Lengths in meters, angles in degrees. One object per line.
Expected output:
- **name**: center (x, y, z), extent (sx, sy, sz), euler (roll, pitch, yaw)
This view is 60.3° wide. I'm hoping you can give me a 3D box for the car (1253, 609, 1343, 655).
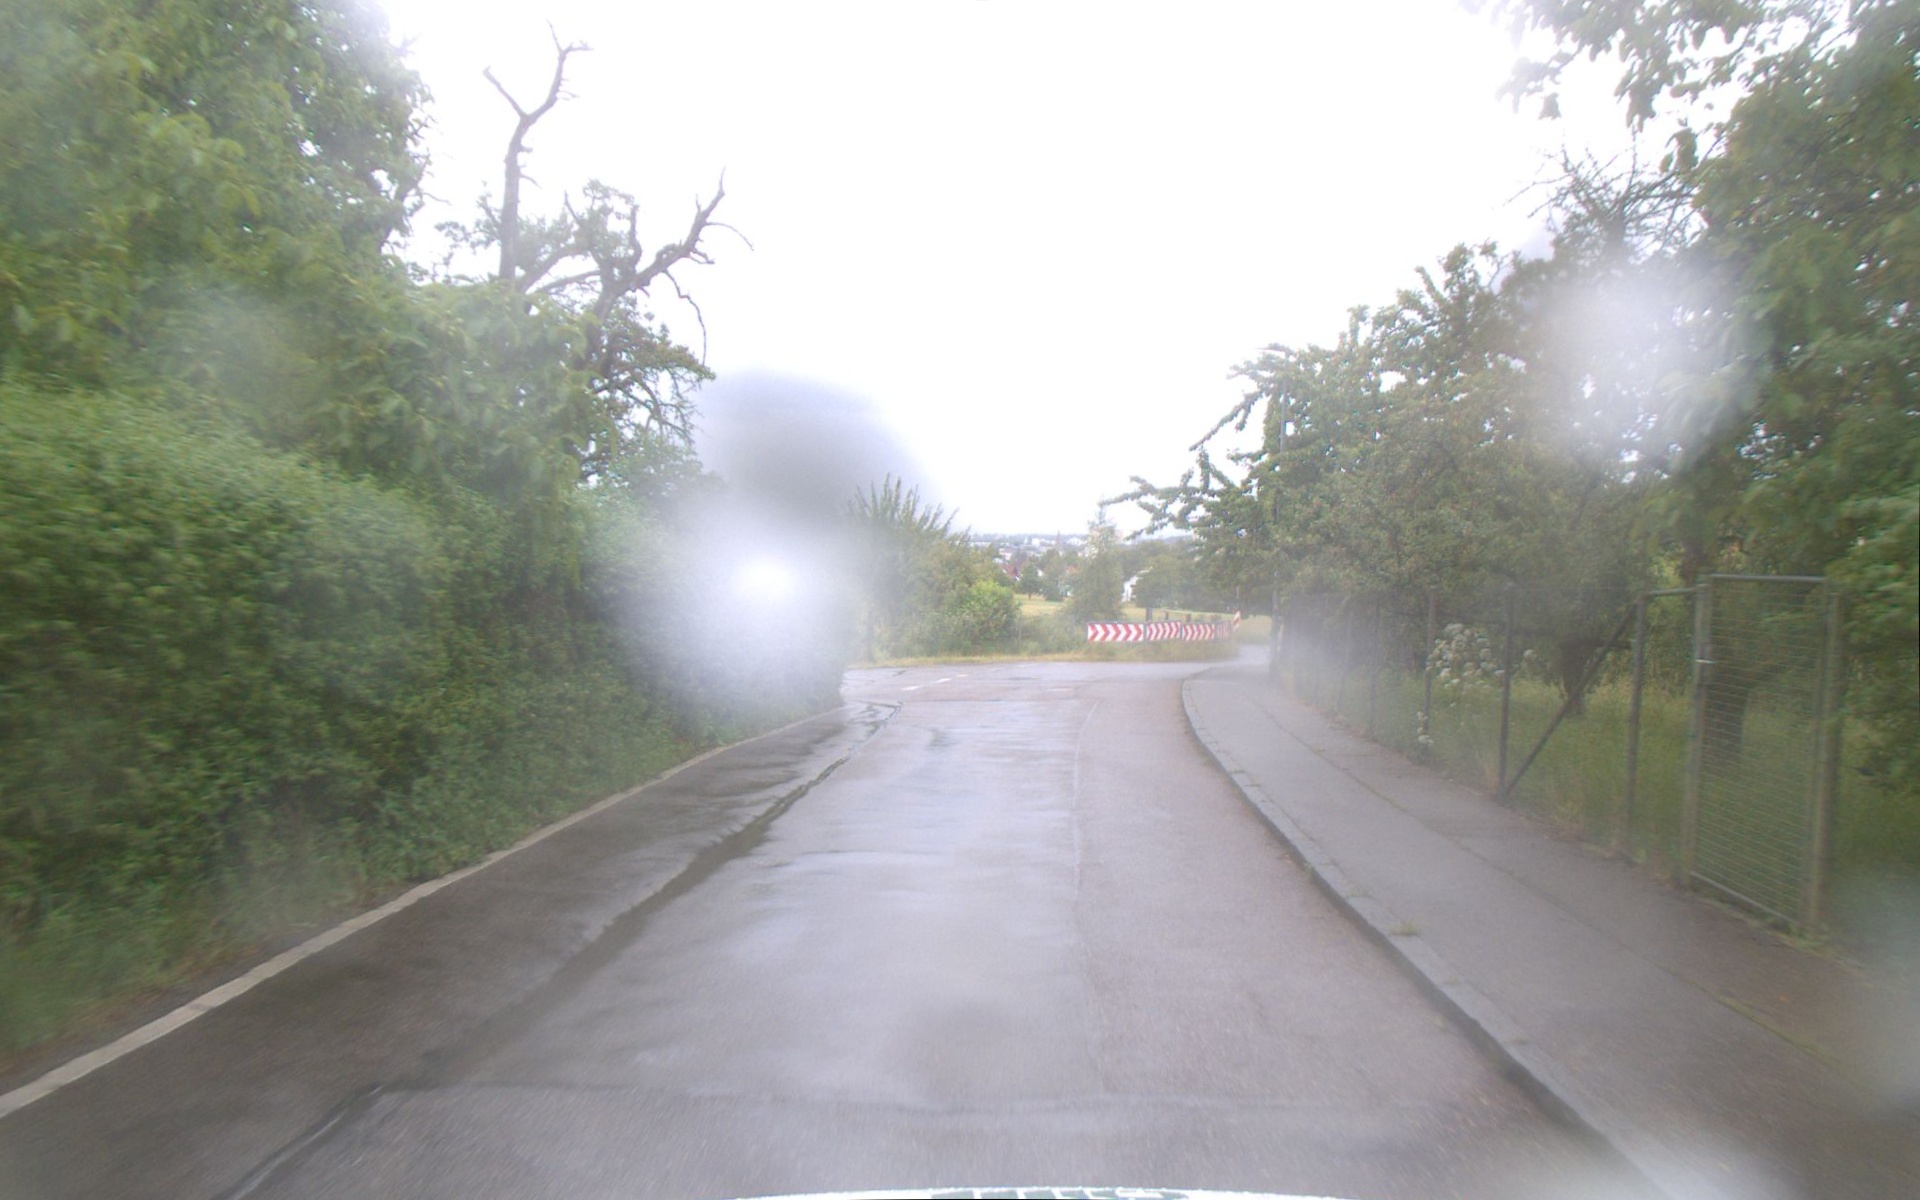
- **car**: center (12.604, 1.178, 61.952), extent (1.783, 1.622, 3.986), euler (2, -1, -13)
